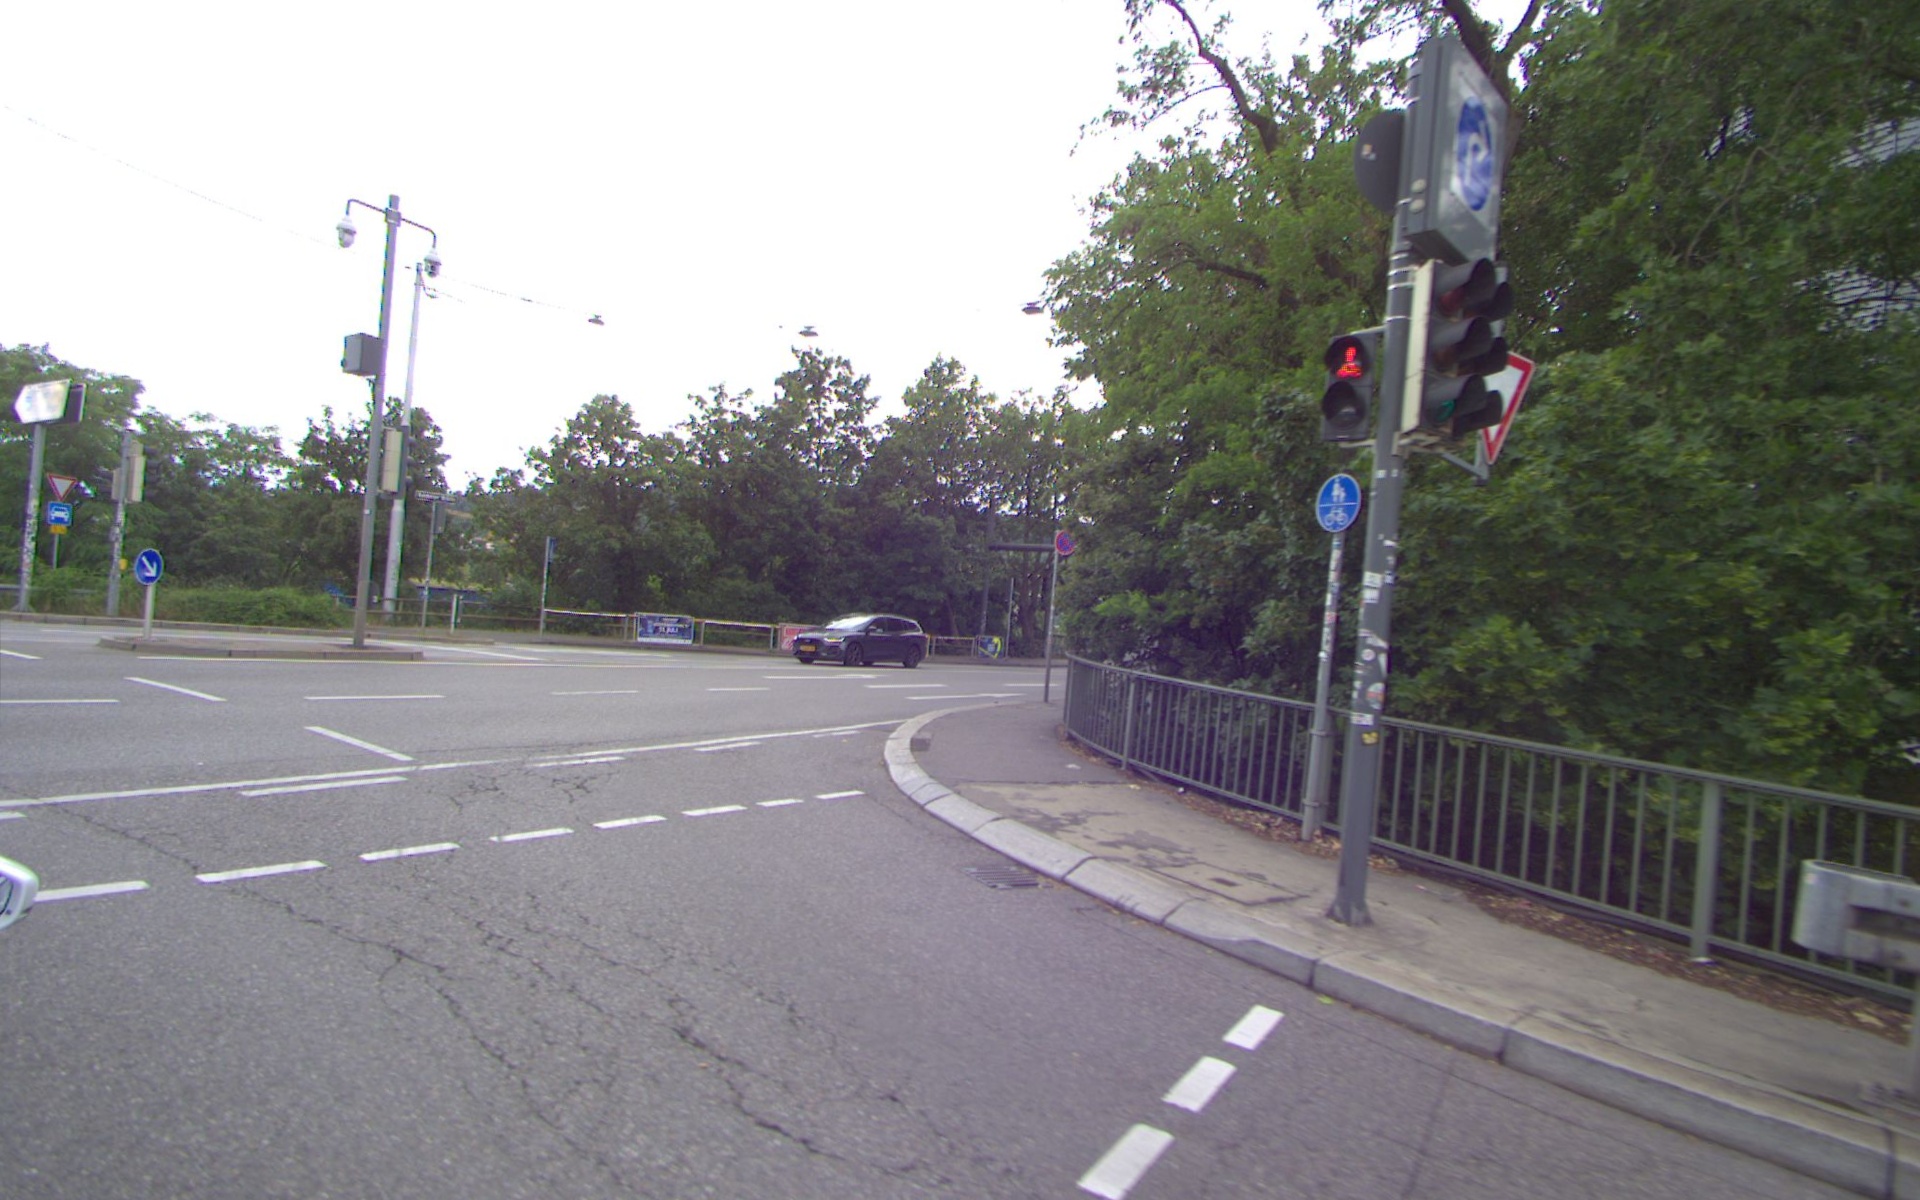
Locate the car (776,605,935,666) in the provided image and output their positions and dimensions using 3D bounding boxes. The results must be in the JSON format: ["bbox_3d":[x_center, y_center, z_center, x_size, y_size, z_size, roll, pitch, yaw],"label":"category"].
[{"bbox_3d":[-2.767,1.009,27.645,1.904,1.437,4.439,3,-1,34],"label":"car"}]
